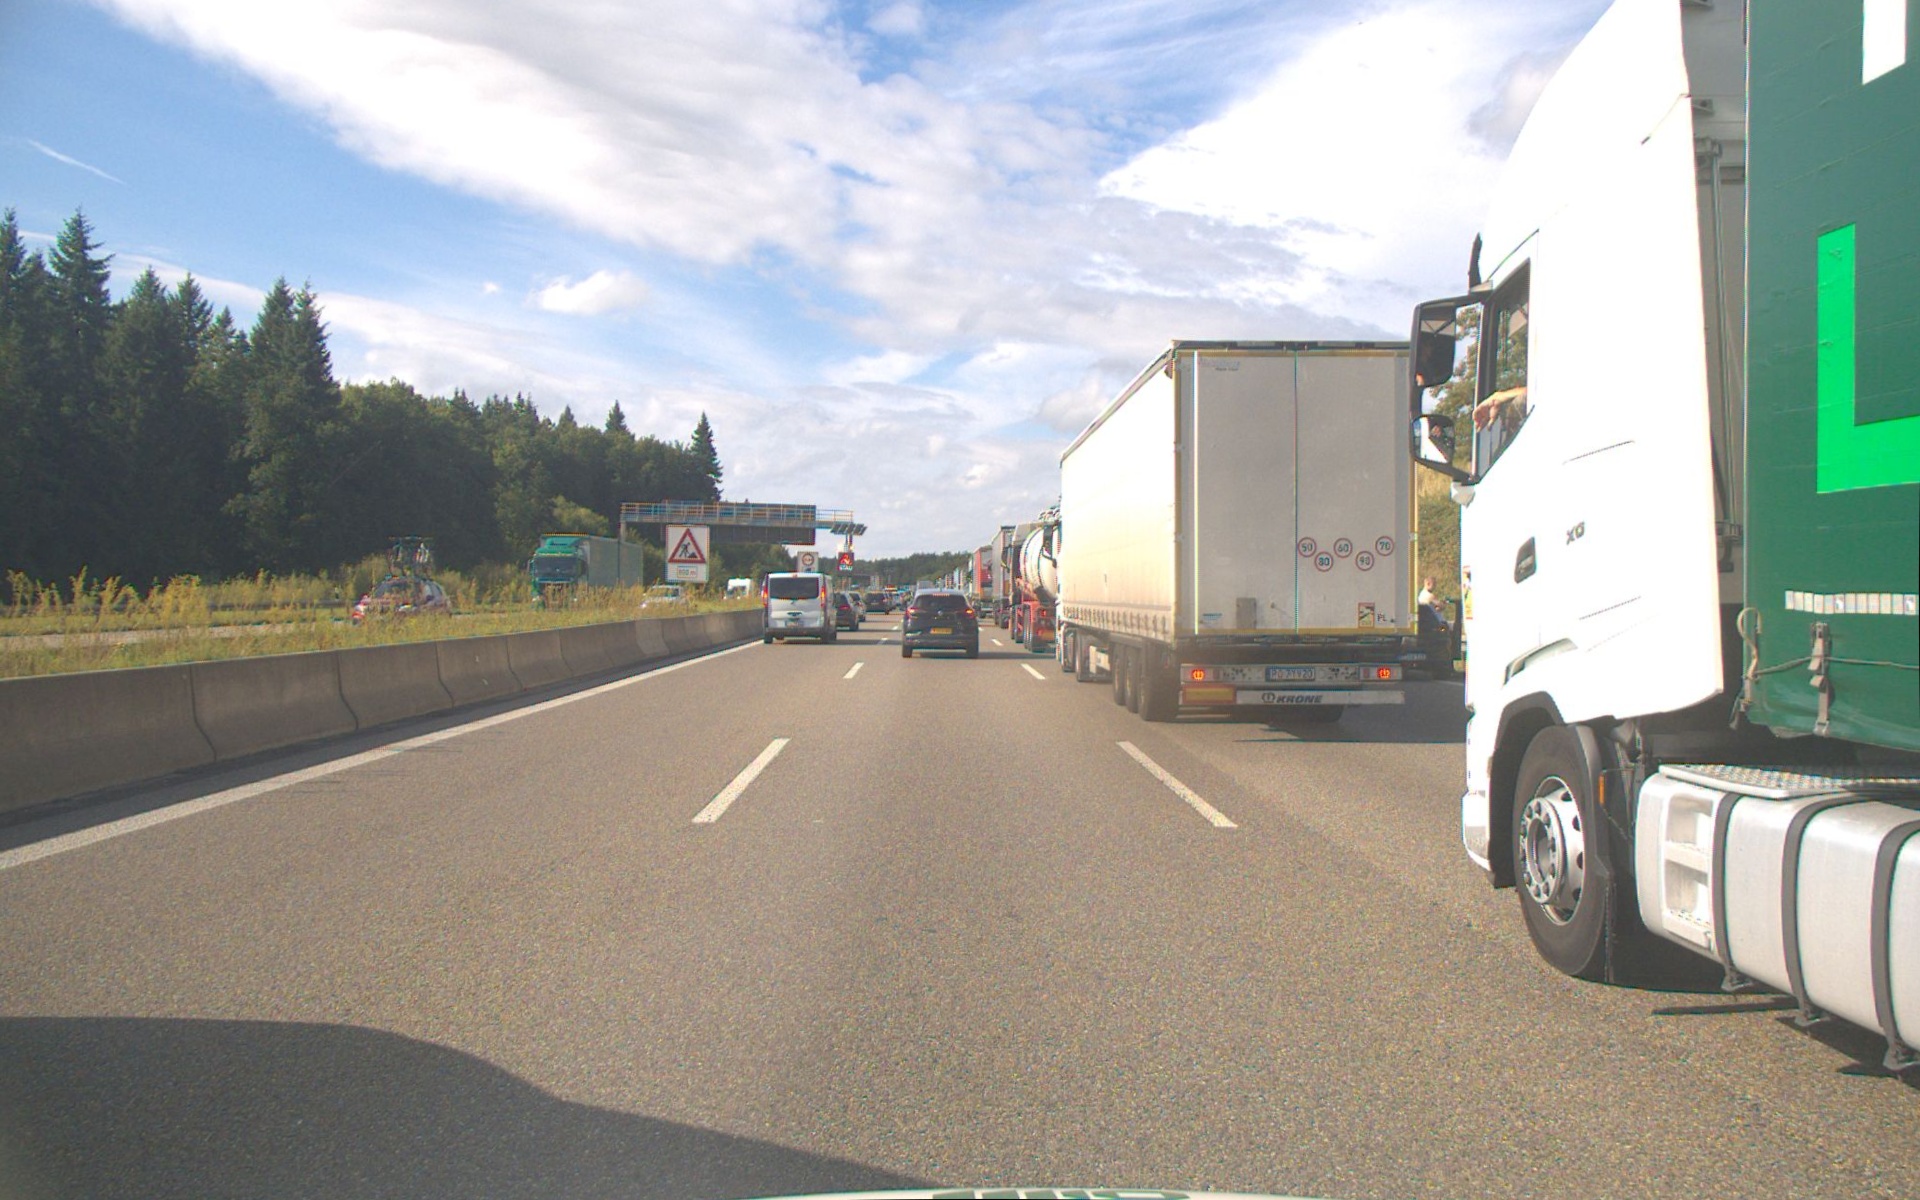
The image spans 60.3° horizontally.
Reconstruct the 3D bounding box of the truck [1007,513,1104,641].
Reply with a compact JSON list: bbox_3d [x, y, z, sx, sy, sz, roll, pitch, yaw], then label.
[{"bbox_3d":[2.835,-0.651,50.816,2.482,3.646,6.728,0,0,-1],"label":"truck"}]

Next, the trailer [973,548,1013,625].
[{"bbox_3d":[1.891,-0.736,97.556,2.106,4.333,8.439,1,0,0],"label":"trailer"}]

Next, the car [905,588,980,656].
[{"bbox_3d":[-0.421,0.484,39.194,1.662,1.509,4.159,1,0,-1],"label":"car"}]

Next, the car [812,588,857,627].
[{"bbox_3d":[-4.670,0.261,62.007,1.469,1.420,3.475,0,0,-1],"label":"car"}]

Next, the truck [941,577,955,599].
[{"bbox_3d":[-1.779,-1.768,244.478,1.953,3.105,4.981,3,0,0],"label":"truck"}]

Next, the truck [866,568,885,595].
[{"bbox_3d":[-12.072,-2.616,236.738,2.297,3.656,6.304,3,0,-1],"label":"truck"}]

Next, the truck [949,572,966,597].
[{"bbox_3d":[-0.356,-2.024,217.645,1.953,3.105,4.981,3,0,0],"label":"truck"}]

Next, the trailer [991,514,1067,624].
[{"bbox_3d":[2.821,-1.197,70.292,2.745,4.318,11.056,0,0,0],"label":"trailer"}]

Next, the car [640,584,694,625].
[{"bbox_3d":[-12.800,0.212,72.371,1.637,1.652,3.766,4,0,-1],"label":"car"}]

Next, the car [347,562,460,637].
[{"bbox_3d":[-15.502,-0.013,46.262,1.724,1.914,3.999,4,0,-1],"label":"car"}]

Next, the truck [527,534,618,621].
[{"bbox_3d":[-20.369,-1.129,87.517,2.656,4.318,10.341,0,0,-2],"label":"truck"}]

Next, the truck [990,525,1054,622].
[{"bbox_3d":[2.833,-1.178,77.199,2.729,4.321,6.459,0,0,0],"label":"truck"}]

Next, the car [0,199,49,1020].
[{"bbox_3d":[-4.019,0.067,2.496,1.974,2.644,6.180,0,1,-1],"label":"car"}]

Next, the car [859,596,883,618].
[{"bbox_3d":[-5.941,0.474,110.091,1.406,1.333,3.532,4,0,-1],"label":"car"}]

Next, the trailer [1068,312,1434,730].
[{"bbox_3d":[3.323,-0.822,22.945,2.648,4.153,12.942,0,0,-1],"label":"trailer"}]

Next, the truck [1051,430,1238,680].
[{"bbox_3d":[3.222,-0.737,30.448,2.653,4.131,6.360,0,0,-1],"label":"truck"}]

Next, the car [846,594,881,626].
[{"bbox_3d":[-4.716,0.486,81.201,1.470,1.420,3.475,4,0,-1],"label":"car"}]

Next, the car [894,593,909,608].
[{"bbox_3d":[-5.537,0.030,157.296,1.333,1.323,3.084,4,0,-1],"label":"car"}]

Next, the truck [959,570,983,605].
[{"bbox_3d":[0.985,-1.062,147.517,1.953,2.983,4.981,3,0,0],"label":"truck"}]

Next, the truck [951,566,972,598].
[{"bbox_3d":[0.137,-1.874,173.577,1.953,3.105,4.981,3,0,0],"label":"truck"}]

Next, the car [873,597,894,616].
[{"bbox_3d":[-5.832,0.515,126.232,1.406,1.333,3.532,4,0,-1],"label":"car"}]

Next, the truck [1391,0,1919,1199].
[{"bbox_3d":[3.625,-0.494,5.229,2.593,3.936,6.995,1,0,-1],"label":"truck"}]

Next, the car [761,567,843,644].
[{"bbox_3d":[-4.585,0.157,48.634,1.894,2.013,5.097,4,0,-1],"label":"car"}]

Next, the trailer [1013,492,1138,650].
[{"bbox_3d":[2.892,-0.681,44.340,2.489,3.718,10.625,0,0,-1],"label":"trailer"}]
